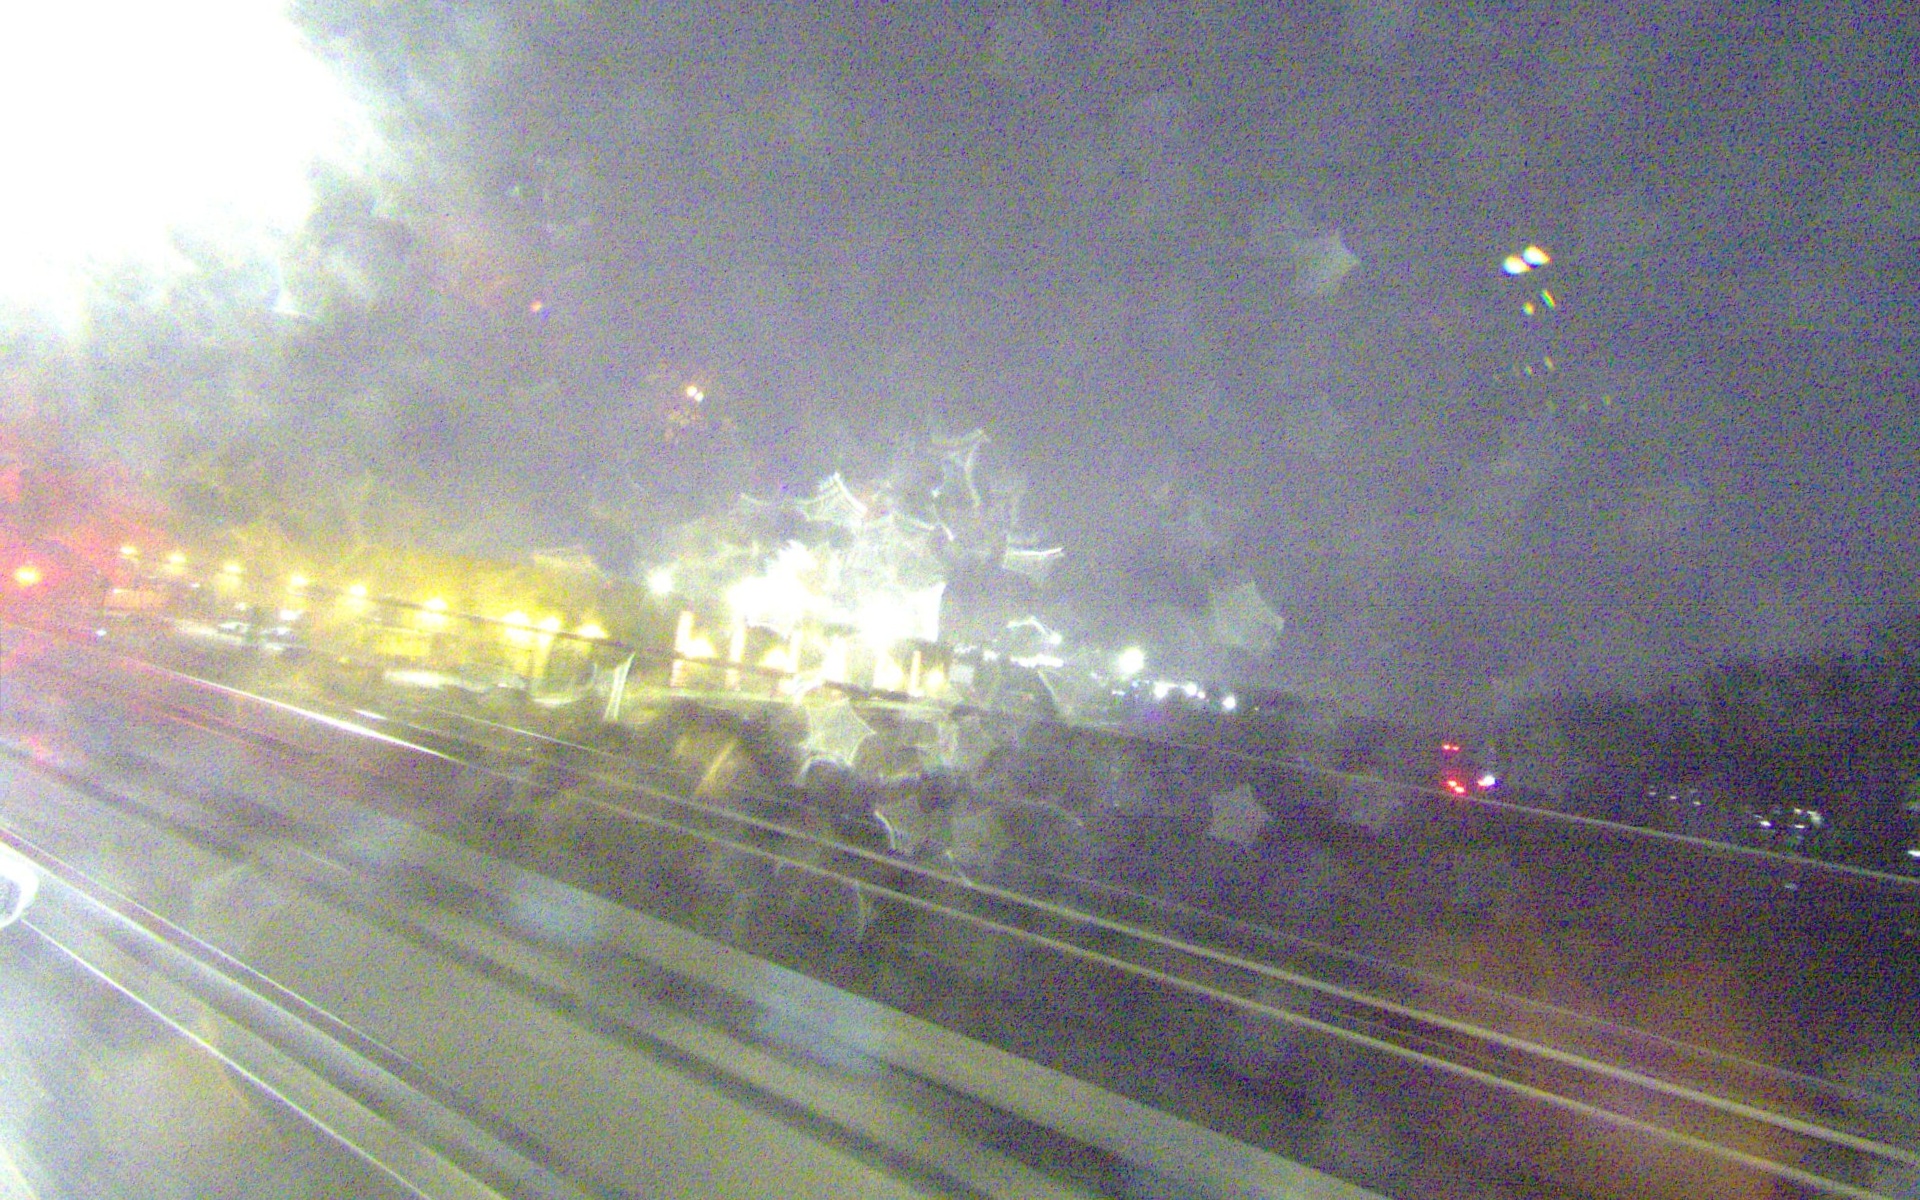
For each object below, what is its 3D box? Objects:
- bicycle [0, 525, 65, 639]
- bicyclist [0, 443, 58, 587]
[{"bbox_3d":[-10.040,-0.261,10.301,2.134,1.046,0.485,7,-1,27],"label":"bicycle"},{"bbox_3d":[-9.711,-0.875,10.205,0.751,1.365,0.454,7,-1,27],"label":"bicyclist"}]
